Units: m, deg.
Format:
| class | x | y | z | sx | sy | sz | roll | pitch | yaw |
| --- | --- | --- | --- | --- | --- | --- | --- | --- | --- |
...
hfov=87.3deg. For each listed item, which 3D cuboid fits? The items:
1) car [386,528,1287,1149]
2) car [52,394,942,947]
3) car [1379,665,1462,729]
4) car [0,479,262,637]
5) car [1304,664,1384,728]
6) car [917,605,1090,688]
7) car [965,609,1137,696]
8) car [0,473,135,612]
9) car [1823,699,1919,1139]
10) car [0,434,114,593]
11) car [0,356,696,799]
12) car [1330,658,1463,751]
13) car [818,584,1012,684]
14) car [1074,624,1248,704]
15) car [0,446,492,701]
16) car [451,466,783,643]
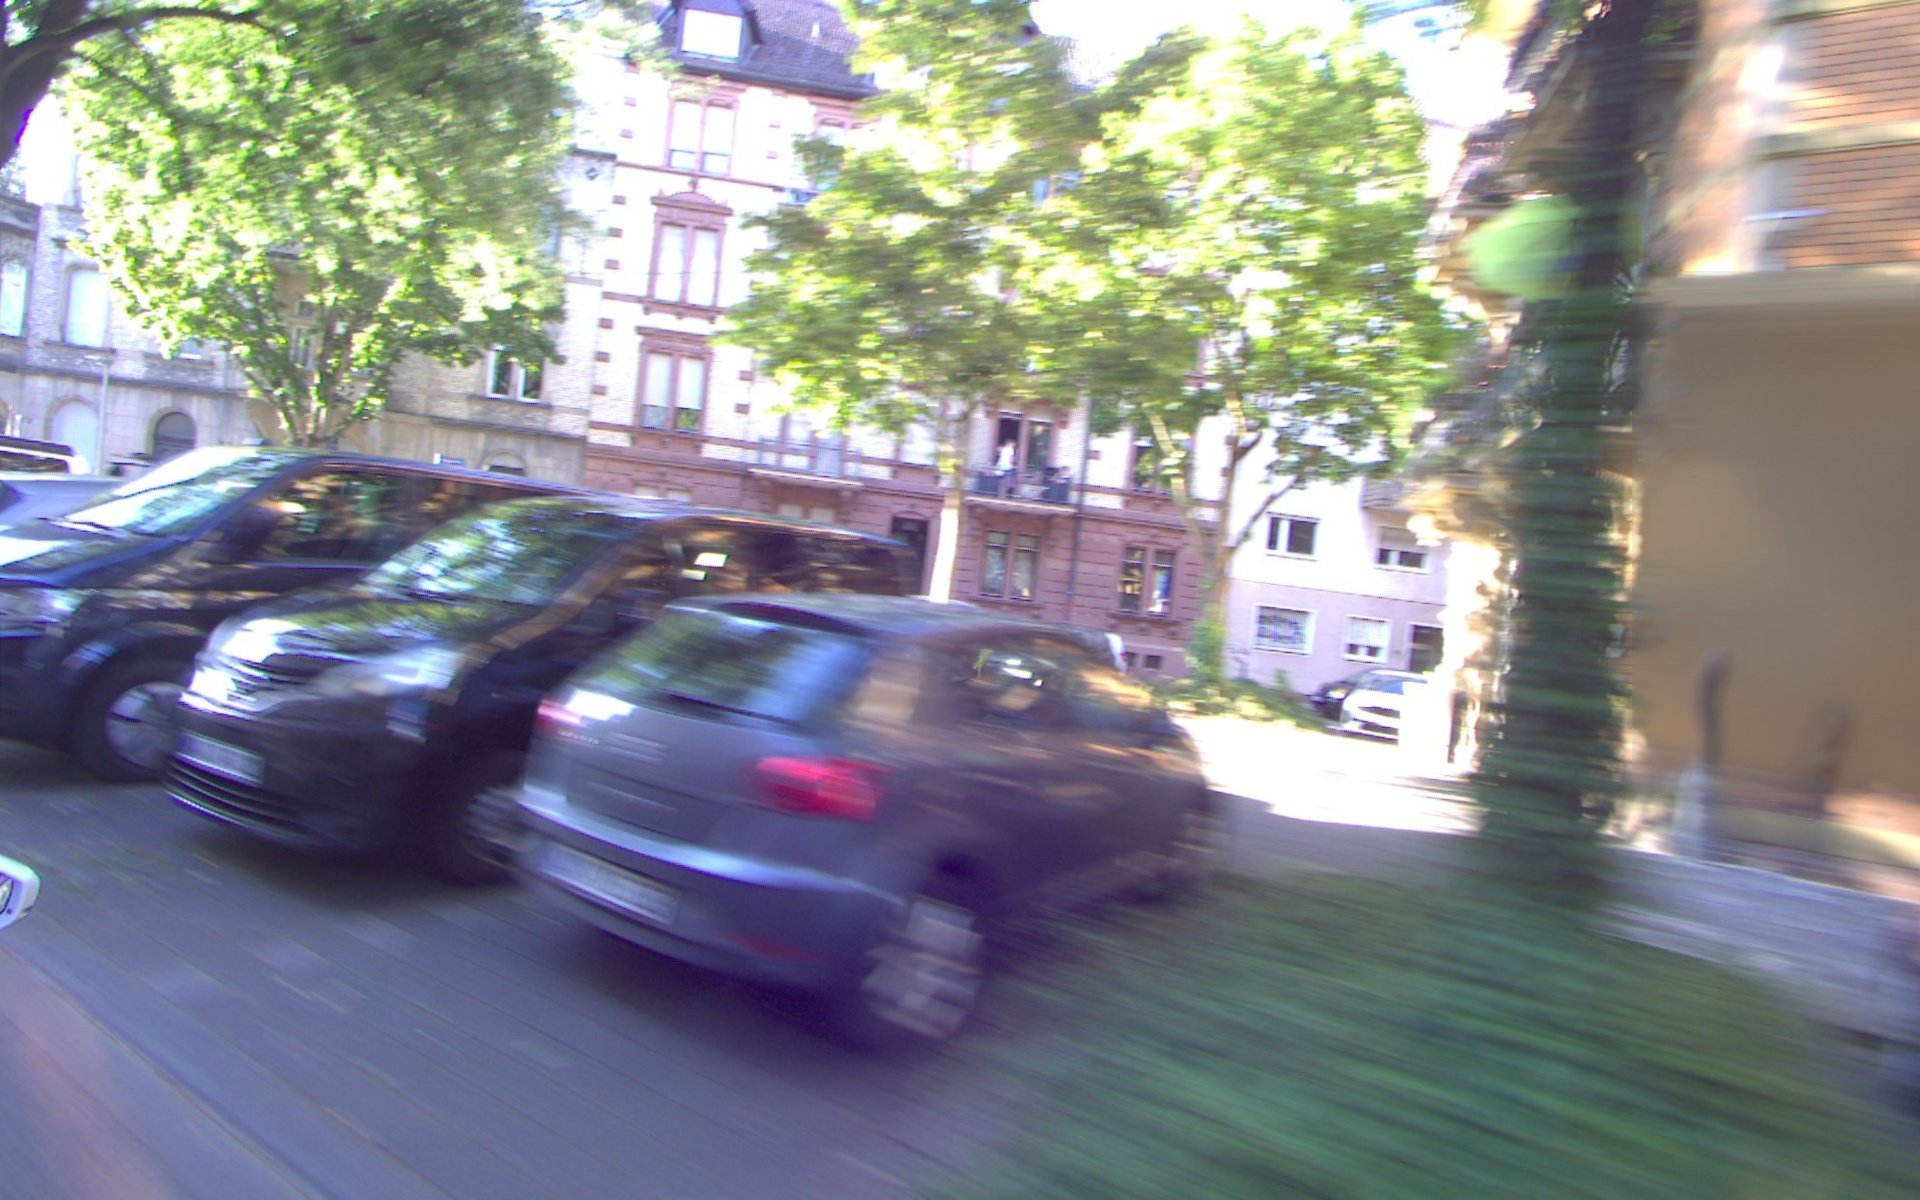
| class | x | y | z | sx | sy | sz | roll | pitch | yaw |
| --- | --- | --- | --- | --- | --- | --- | --- | --- | --- |
| car | -0.100 | 0.712 | 4.694 | 1.860 | 1.466 | 3.988 | 7 | 0 | 35 |
| car | -2.056 | 0.288 | 5.835 | 1.906 | 1.908 | 4.277 | 7 | 0 | 28 |
| car | 12.749 | 2.629 | 27.994 | 1.818 | 1.389 | 3.998 | 7 | 0 | 23 |
| car | -10.380 | -0.534 | 11.148 | 1.817 | 1.534 | 3.846 | 7 | 0 | 31 |
| car | 10.866 | 2.642 | 28.310 | 1.818 | 1.389 | 3.998 | 7 | 0 | 23 |
| car | 1.083 | 1.193 | 26.489 | 4.170 | 1.601 | 1.865 | 7 | 0 | -6 |
| car | 1.892 | 1.029 | 19.549 | 1.831 | 1.292 | 4.063 | 7 | 0 | 27 |
| car | -12.710 | -0.867 | 12.120 | 1.712 | 1.615 | 3.846 | 7 | 0 | 31 |
| car | 3.951 | 1.193 | 2.599 | 1.813 | 1.516 | 4.085 | 7 | 0 | 31 |
| car | -14.900 | -1.434 | 13.445 | 2.070 | 2.122 | 4.980 | 7 | 0 | 31 |
| car | -4.284 | -0.059 | 6.918 | 1.966 | 2.038 | 4.623 | 7 | 0 | 29 |
| car | 8.773 | 2.000 | 20.001 | 1.820 | 1.389 | 4.403 | 7 | 0 | 30 |
| car | -0.743 | 0.709 | 19.428 | 1.831 | 1.528 | 4.064 | 7 | 0 | 27 |
| car | 5.468 | 1.729 | 27.621 | 4.170 | 1.601 | 1.865 | 7 | 0 | -6 |
| car | -6.418 | -0.159 | 8.587 | 1.769 | 1.713 | 3.993 | 7 | 0 | 29 |
| car | -6.193 | -0.674 | 19.203 | 2.337 | 2.568 | 5.910 | 7 | 0 | 25 |
